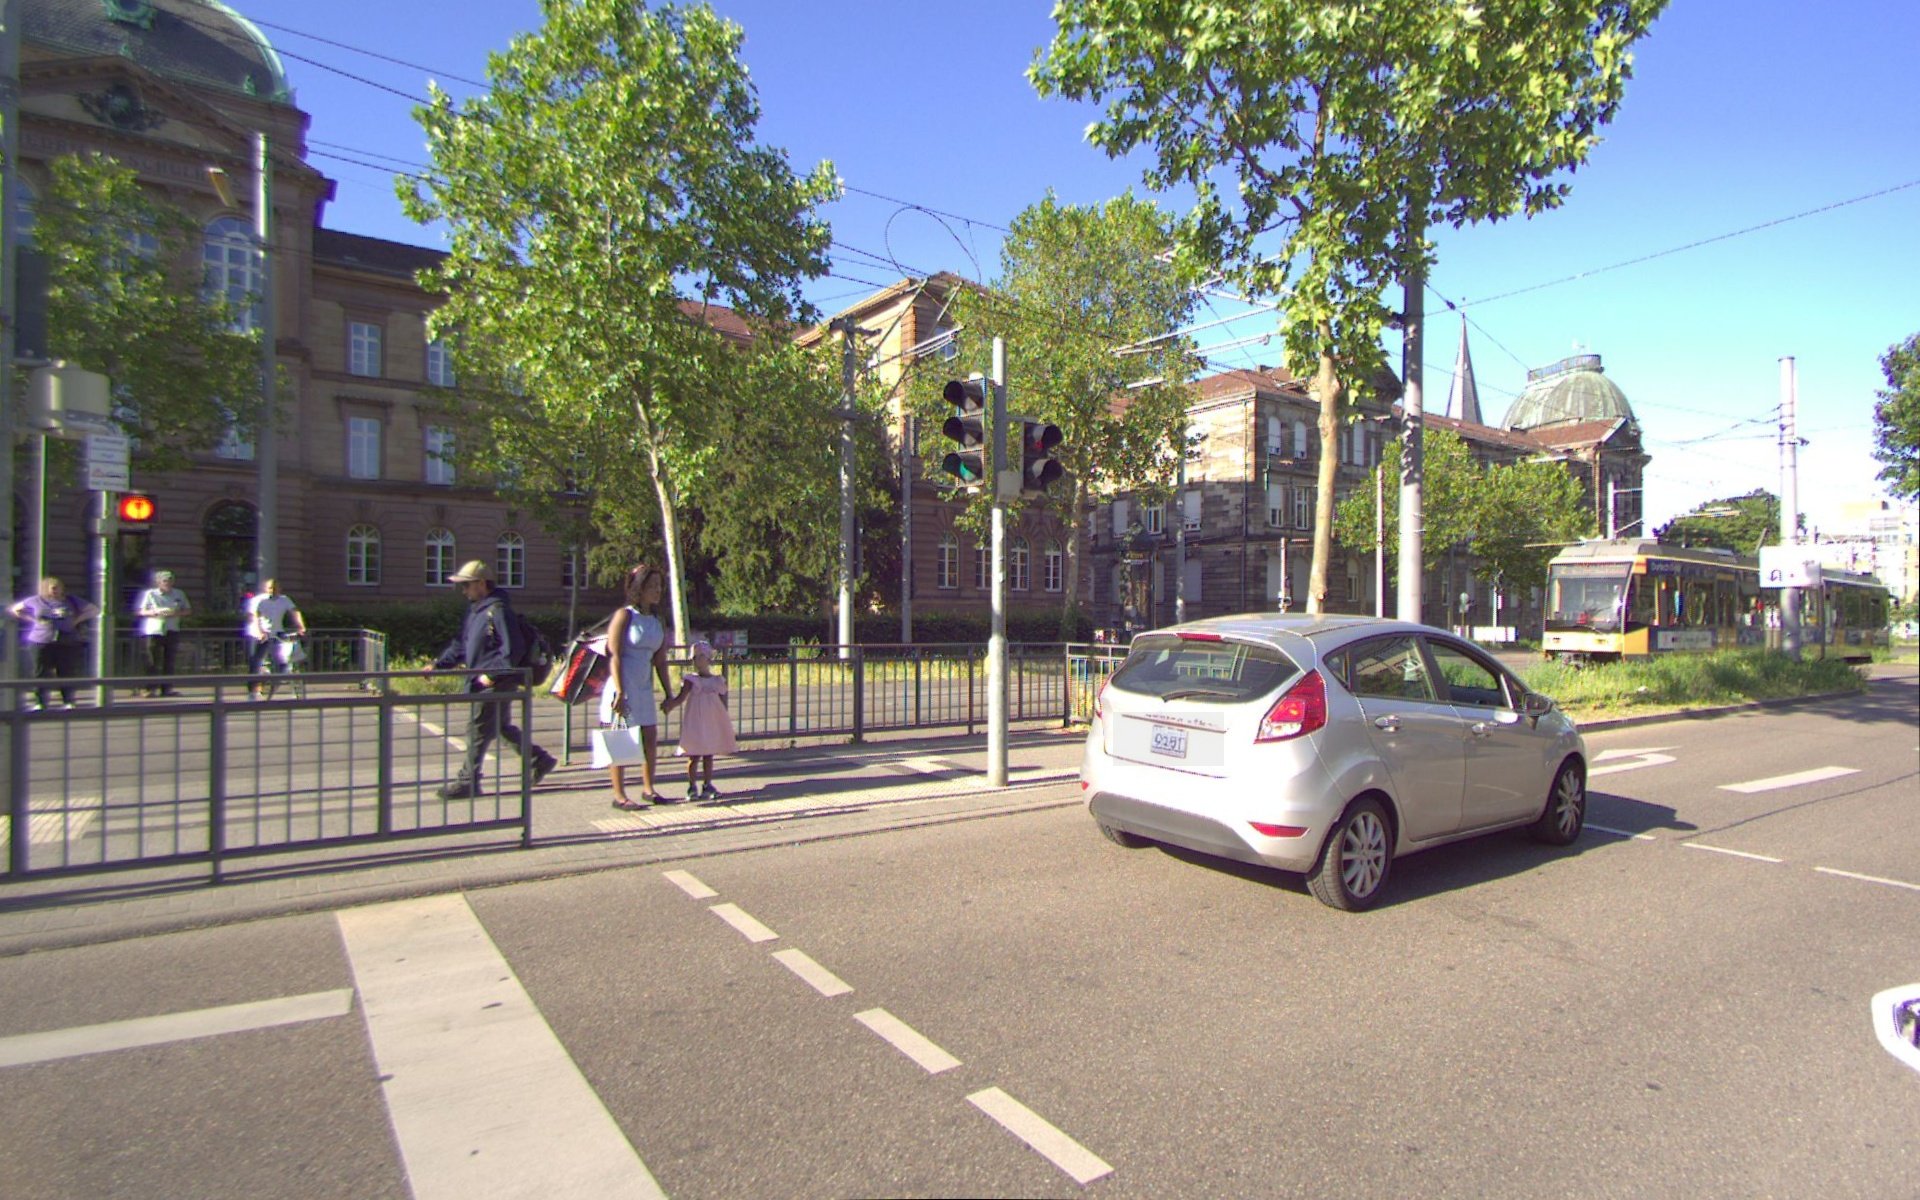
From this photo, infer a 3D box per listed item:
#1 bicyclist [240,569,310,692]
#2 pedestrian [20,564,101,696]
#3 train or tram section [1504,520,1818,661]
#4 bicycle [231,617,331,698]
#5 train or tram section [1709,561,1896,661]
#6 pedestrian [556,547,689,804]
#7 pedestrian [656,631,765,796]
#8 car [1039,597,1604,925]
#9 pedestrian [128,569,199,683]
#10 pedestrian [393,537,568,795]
[{"bbox_3d":[-9.531,0.408,13.977,0.653,1.648,0.655,2,0,44],"label":"bicyclist"},{"bbox_3d":[-11.278,0.370,12.617,0.699,1.603,0.613,1,-1,-40],"label":"pedestrian"},{"bbox_3d":[21.175,0.022,29.519,15.750,3.303,2.892,3,0,-38],"label":"train or tram section"},{"bbox_3d":[-9.430,0.765,13.933,1.648,0.999,0.831,2,0,44],"label":"bicycle"},{"bbox_3d":[32.484,0.550,38.402,12.999,3.303,2.891,3,0,-39],"label":"train or tram section"},{"bbox_3d":[-2.232,0.472,6.638,0.641,1.577,0.625,1,-1,-40],"label":"pedestrian"},{"bbox_3d":[-1.773,0.771,7.131,0.525,1.088,0.625,1,-1,-39],"label":"pedestrian"},{"bbox_3d":[2.380,0.761,6.236,3.601,1.428,1.647,2,0,-39],"label":"car"},{"bbox_3d":[-11.426,0.370,14.408,0.705,1.582,0.770,1,-1,-44],"label":"pedestrian"},{"bbox_3d":[-3.325,0.428,6.979,0.936,1.651,0.621,1,0,-41],"label":"pedestrian"}]
